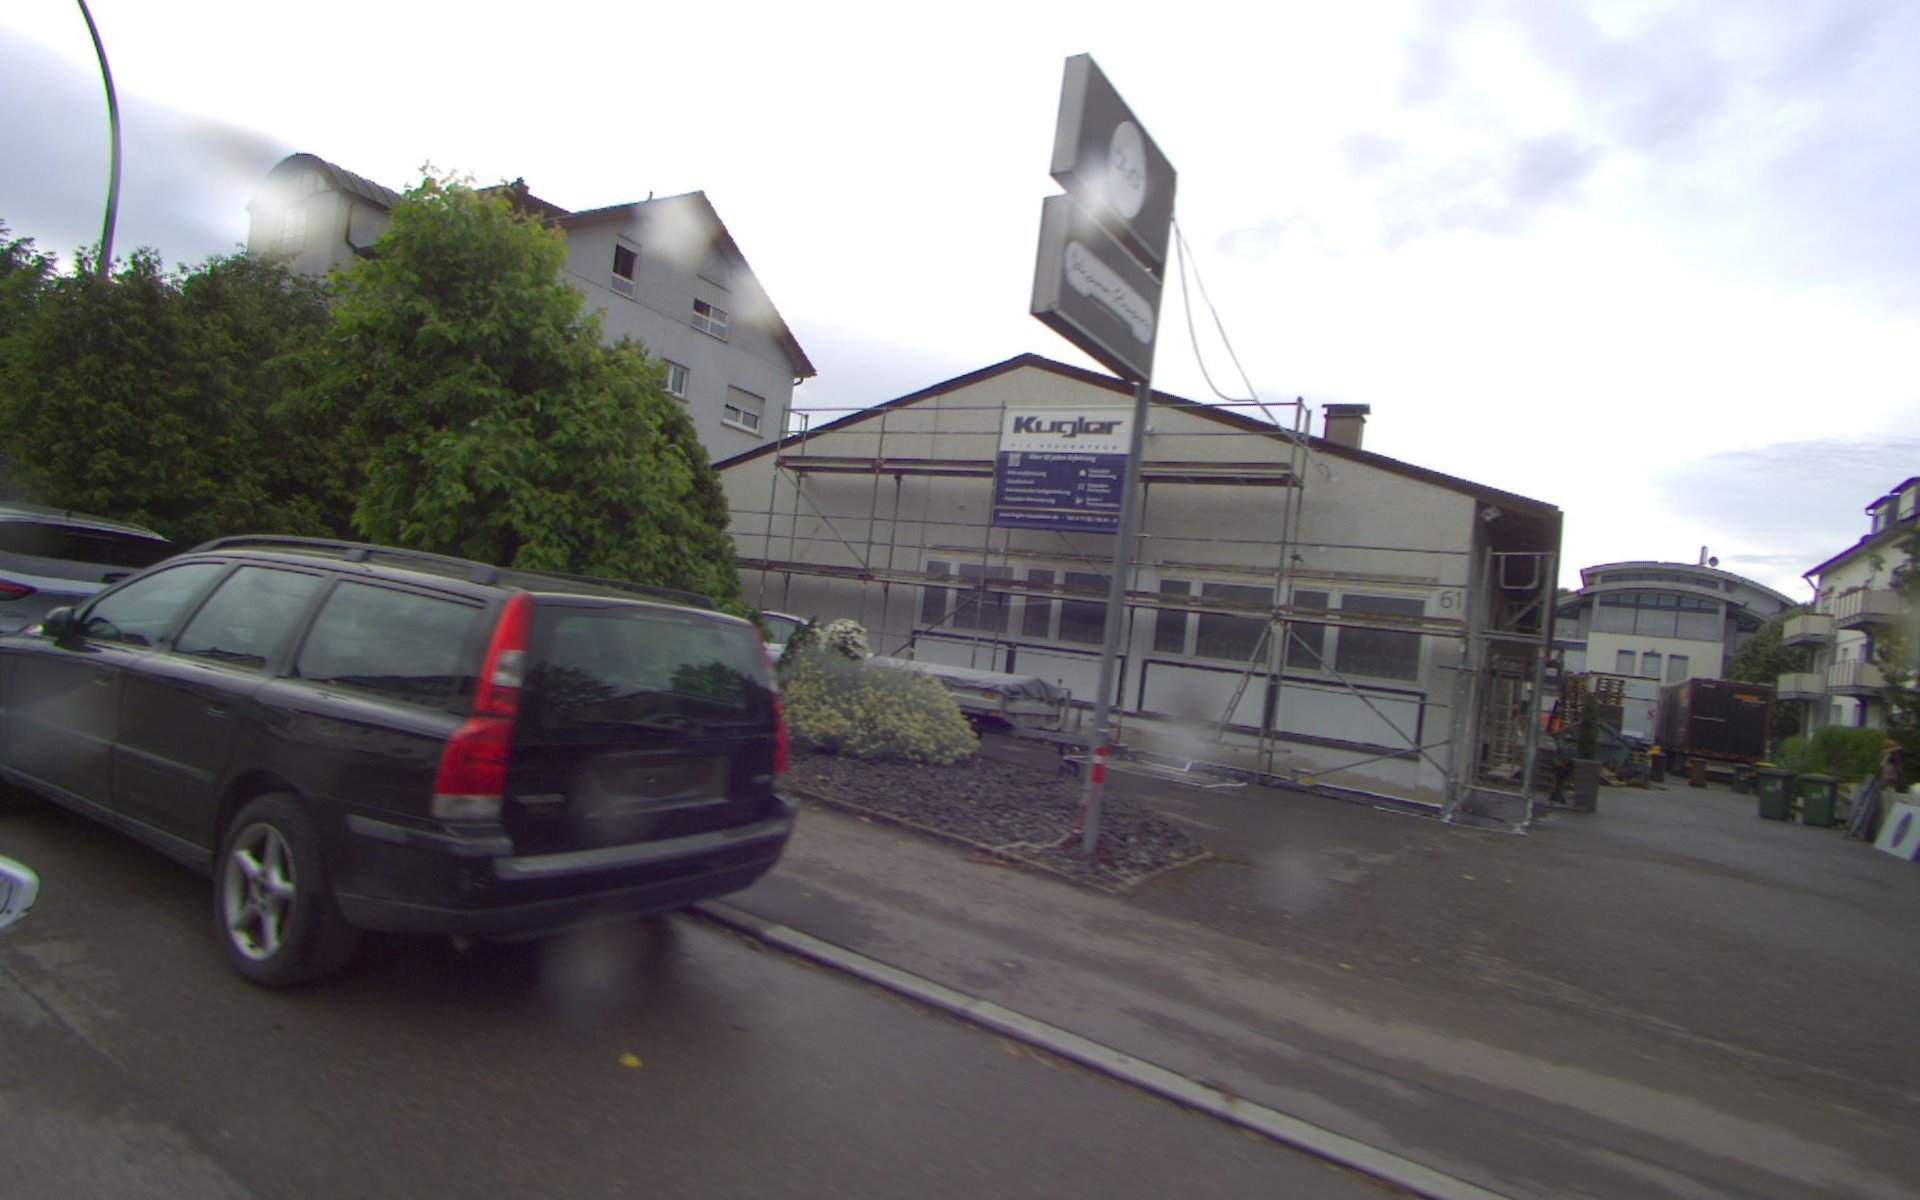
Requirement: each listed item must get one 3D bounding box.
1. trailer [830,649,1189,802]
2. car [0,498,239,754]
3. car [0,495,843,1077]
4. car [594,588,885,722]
[{"bbox_3d":[0.518,1.390,11.781,3.842,1.071,1.542,7,-2,32],"label":"trailer"},{"bbox_3d":[-6.870,-0.003,6.953,3.687,1.445,1.544,7,-2,30],"label":"car"},{"bbox_3d":[-2.926,0.473,4.649,4.449,1.454,1.716,7,-3,29],"label":"car"},{"bbox_3d":[-3.225,0.796,15.014,3.892,1.416,1.537,8,-1,-13],"label":"car"}]
